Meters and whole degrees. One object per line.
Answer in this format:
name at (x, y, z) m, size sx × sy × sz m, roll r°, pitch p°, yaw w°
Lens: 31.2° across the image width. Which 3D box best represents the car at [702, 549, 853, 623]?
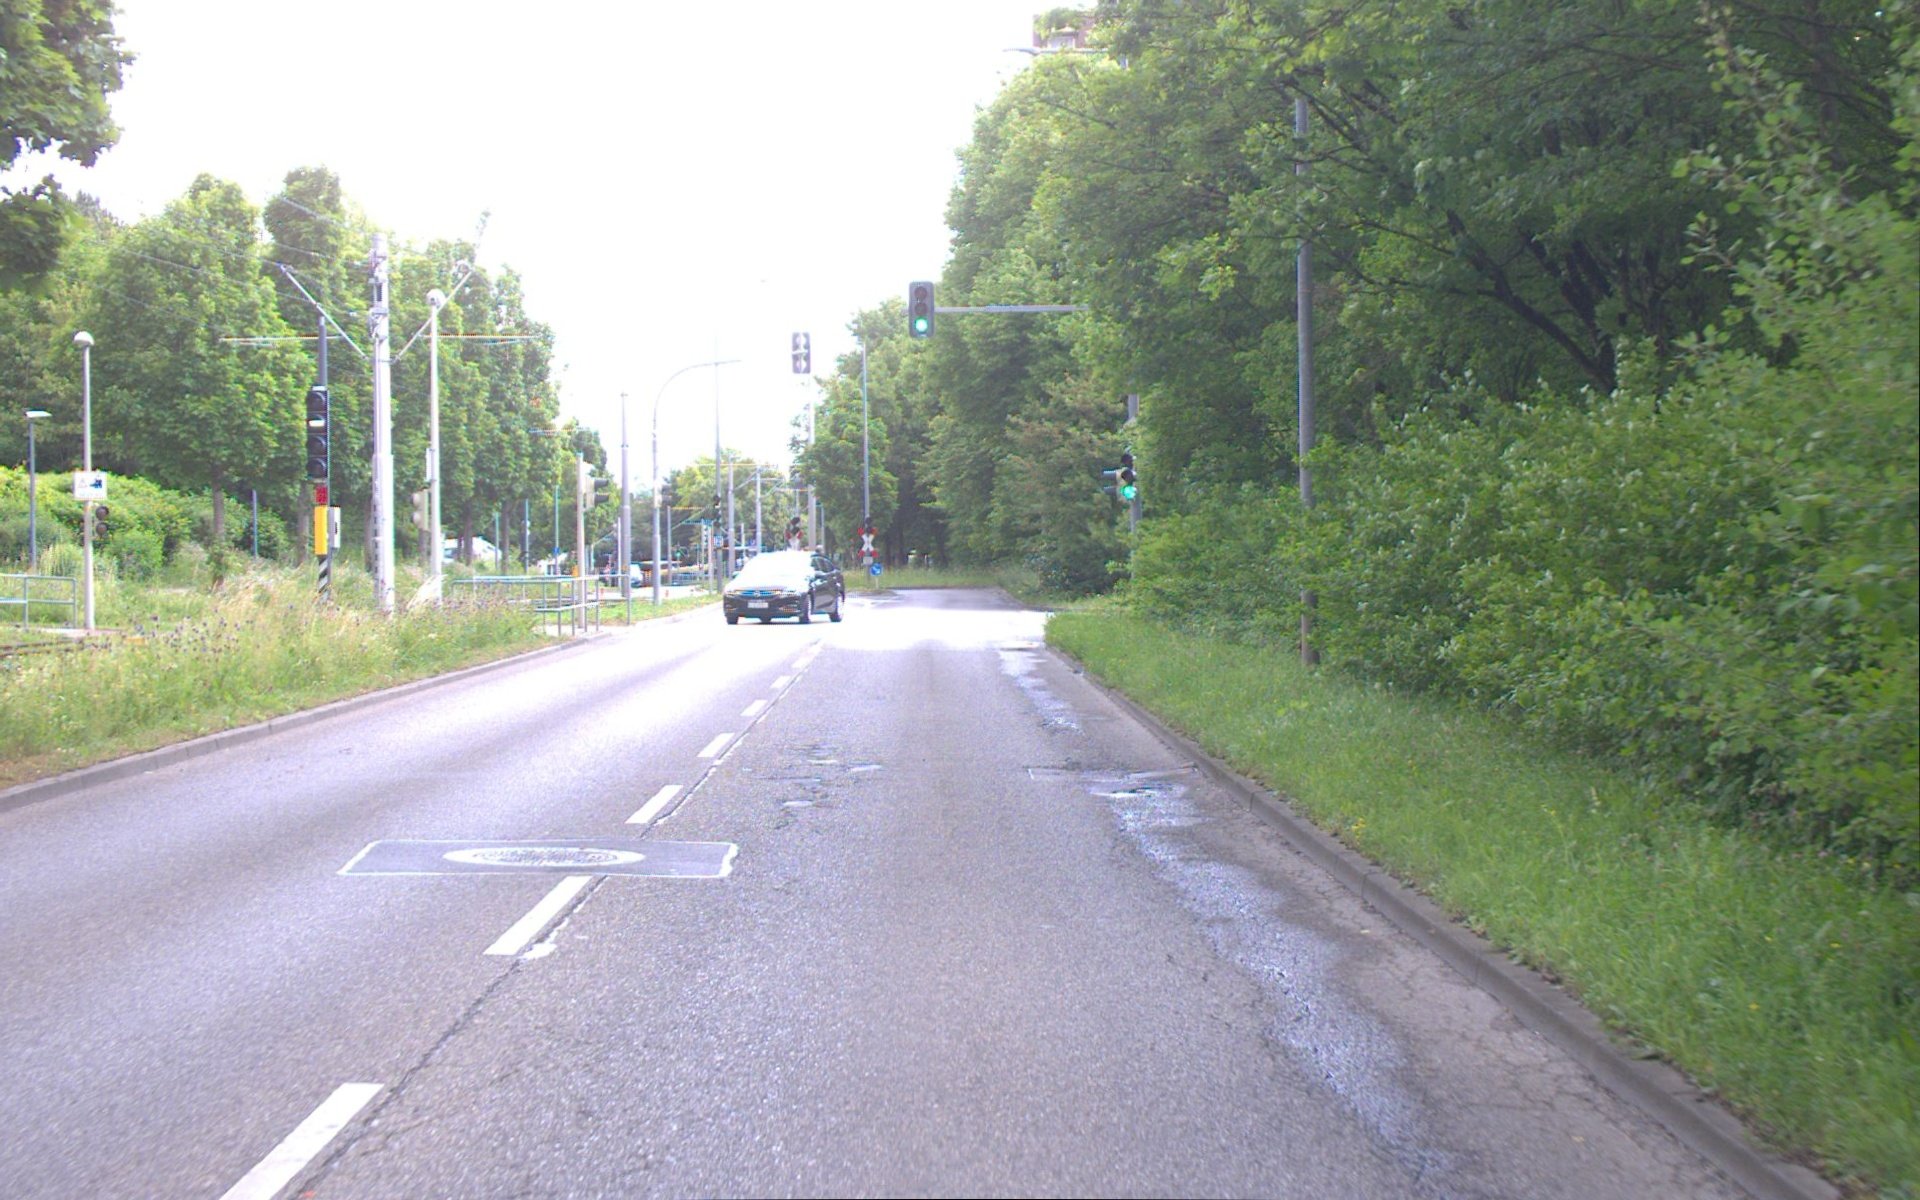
car at (-3.771, -0.313, 71.913) m, size 1.851 × 1.465 × 4.253 m, roll 1°, pitch 1°, yaw 16°
